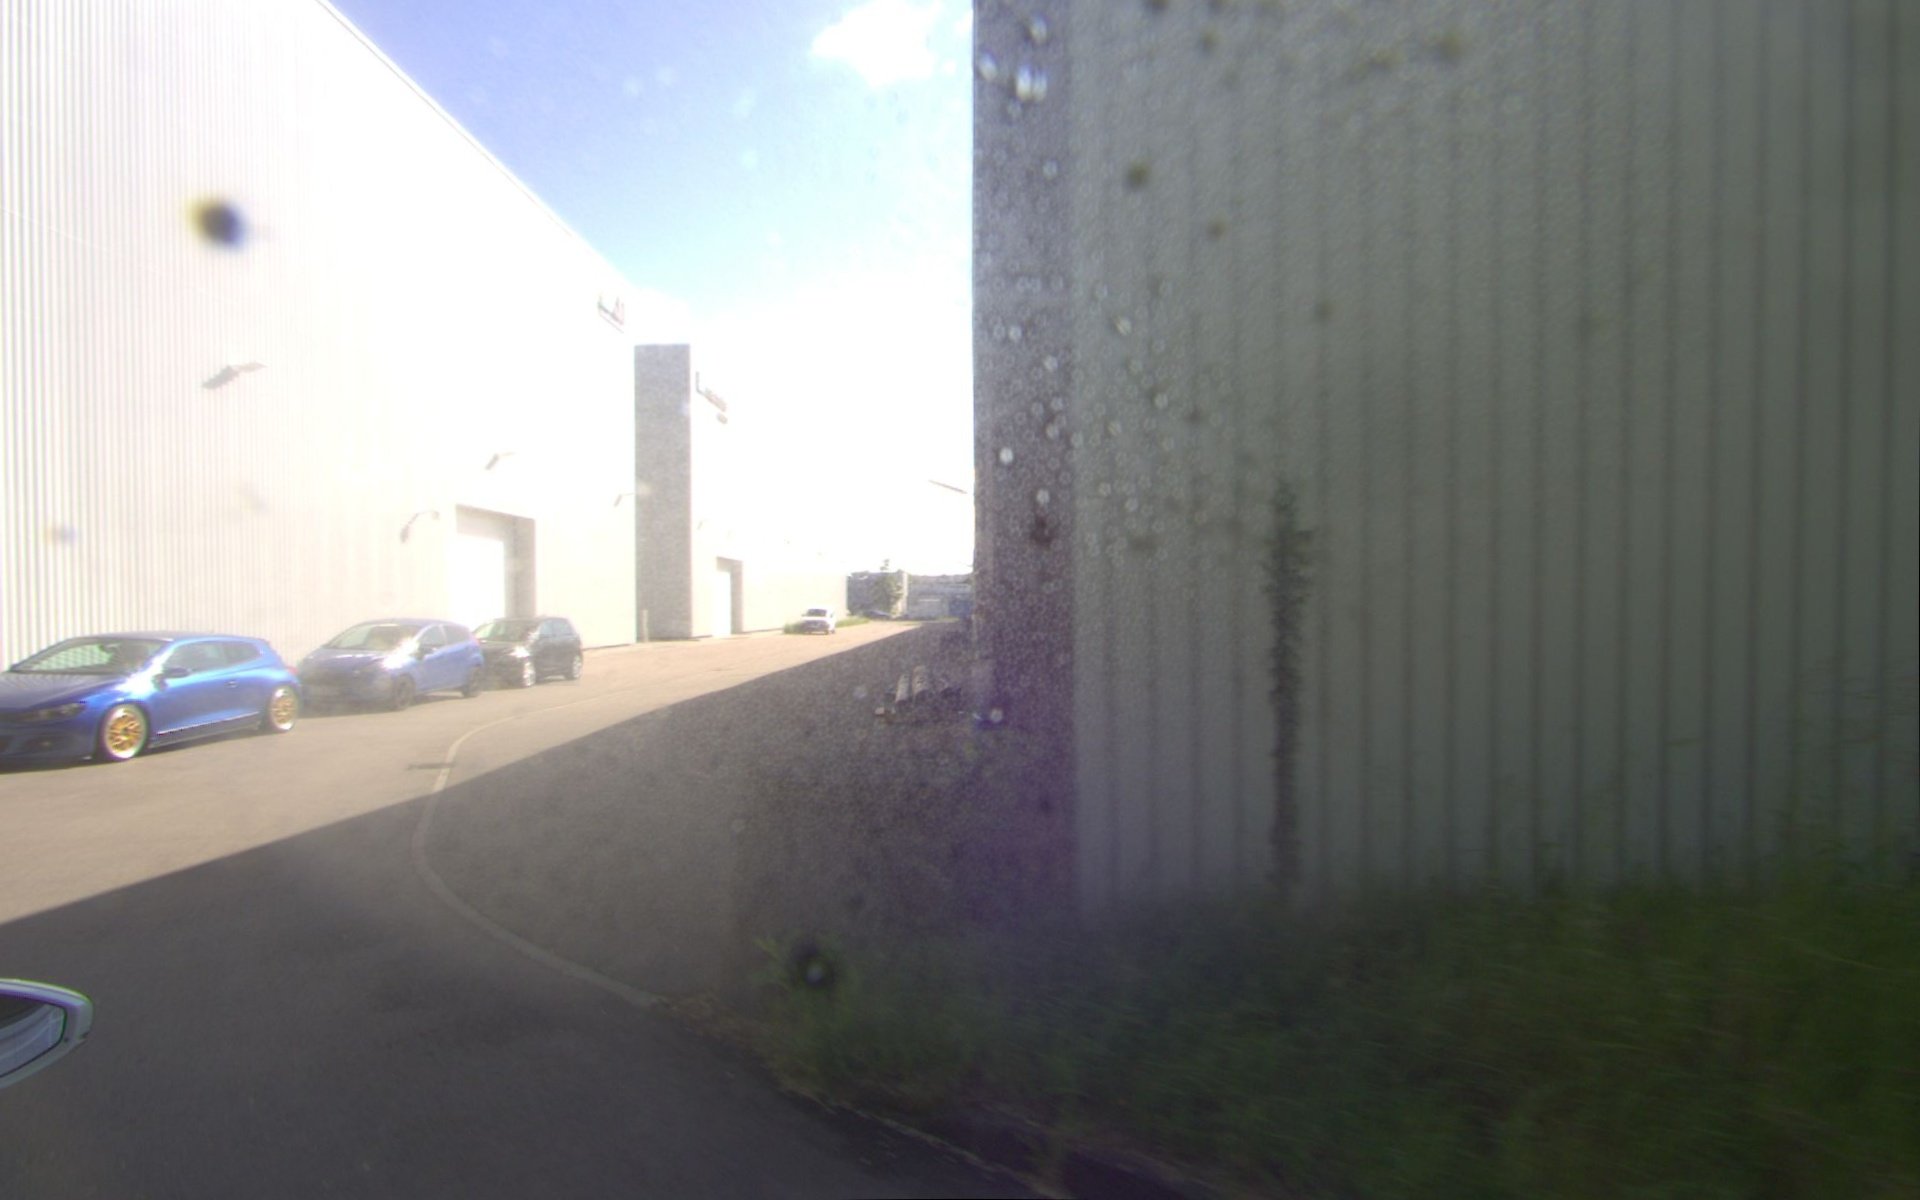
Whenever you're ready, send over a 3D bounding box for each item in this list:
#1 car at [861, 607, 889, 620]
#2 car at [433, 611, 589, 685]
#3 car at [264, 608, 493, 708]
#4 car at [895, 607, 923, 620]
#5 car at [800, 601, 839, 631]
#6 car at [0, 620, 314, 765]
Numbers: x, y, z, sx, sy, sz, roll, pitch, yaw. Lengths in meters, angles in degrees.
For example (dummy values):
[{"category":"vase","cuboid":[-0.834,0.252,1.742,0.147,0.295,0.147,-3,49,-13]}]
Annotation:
[{"category":"car","cuboid":[-12.564,1.962,147.876,4.018,1.799,1.900,0,1,-1]},{"category":"car","cuboid":[-9.867,1.000,22.344,1.721,1.436,3.897,2,0,-1]},{"category":"car","cuboid":[-9.910,0.913,17.448,1.721,1.492,3.897,2,0,-1]},{"category":"car","cuboid":[-7.408,1.941,146.648,4.018,1.799,1.900,0,1,-1]},{"category":"car","cuboid":[-9.109,1.030,65.202,1.678,1.779,4.299,2,0,4]},{"category":"car","cuboid":[-9.866,0.949,11.890,1.721,1.402,4.169,0,-1,-1]}]
